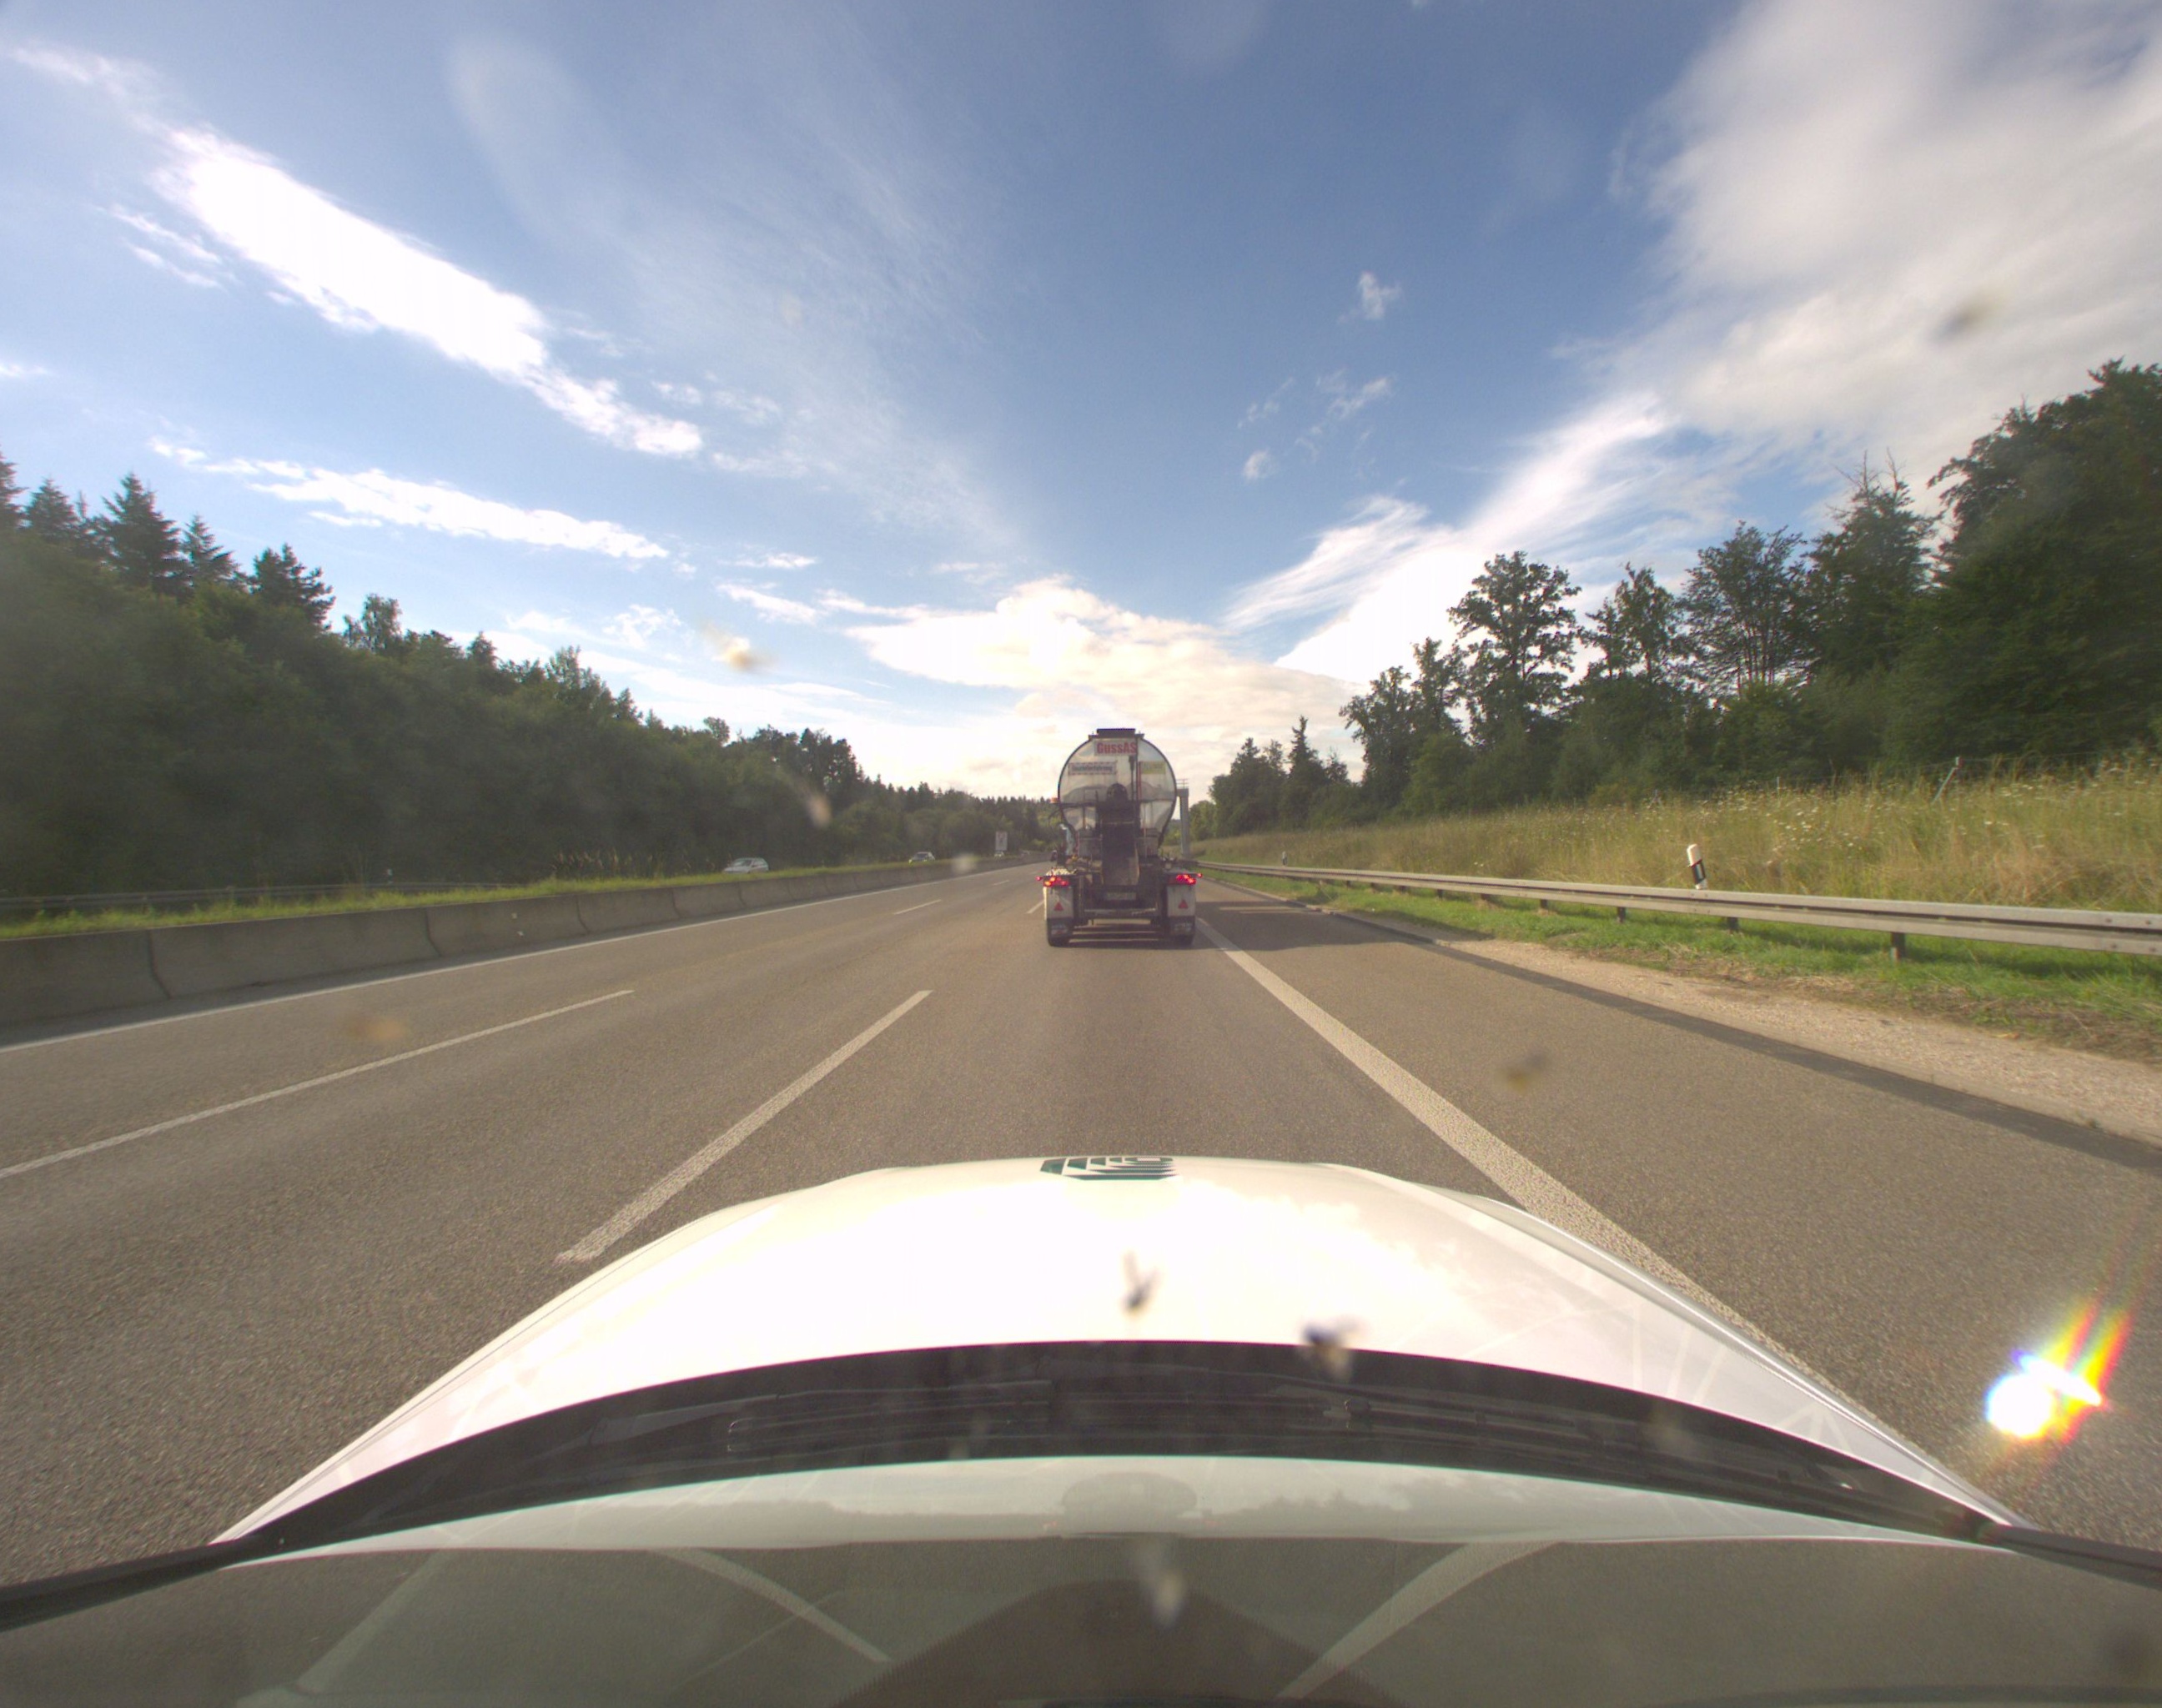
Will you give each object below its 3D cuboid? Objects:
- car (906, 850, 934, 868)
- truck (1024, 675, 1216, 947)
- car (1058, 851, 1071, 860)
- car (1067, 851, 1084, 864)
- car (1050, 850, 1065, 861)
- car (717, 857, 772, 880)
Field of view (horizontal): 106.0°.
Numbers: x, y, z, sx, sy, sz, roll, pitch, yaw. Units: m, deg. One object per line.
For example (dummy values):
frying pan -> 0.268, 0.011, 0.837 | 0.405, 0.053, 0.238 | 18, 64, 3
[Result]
car -> -16.067, 0.478, 81.561 | 1.899, 1.717, 4.002 | -1, 0, 2
truck -> 0.807, -0.684, 18.212 | 2.901, 4.157, 11.275 | -1, 0, 2
car -> -2.757, 0.187, 136.982 | 1.849, 1.431, 4.843 | -1, 0, 2
car -> -0.575, 0.387, 96.301 | 1.828, 1.517, 4.335 | -1, 0, 2
car -> -3.333, 0.269, 117.291 | 1.828, 1.517, 4.335 | -1, 0, 2
car -> -20.722, 0.857, 50.275 | 1.809, 1.290, 3.546 | -1, 0, 2
